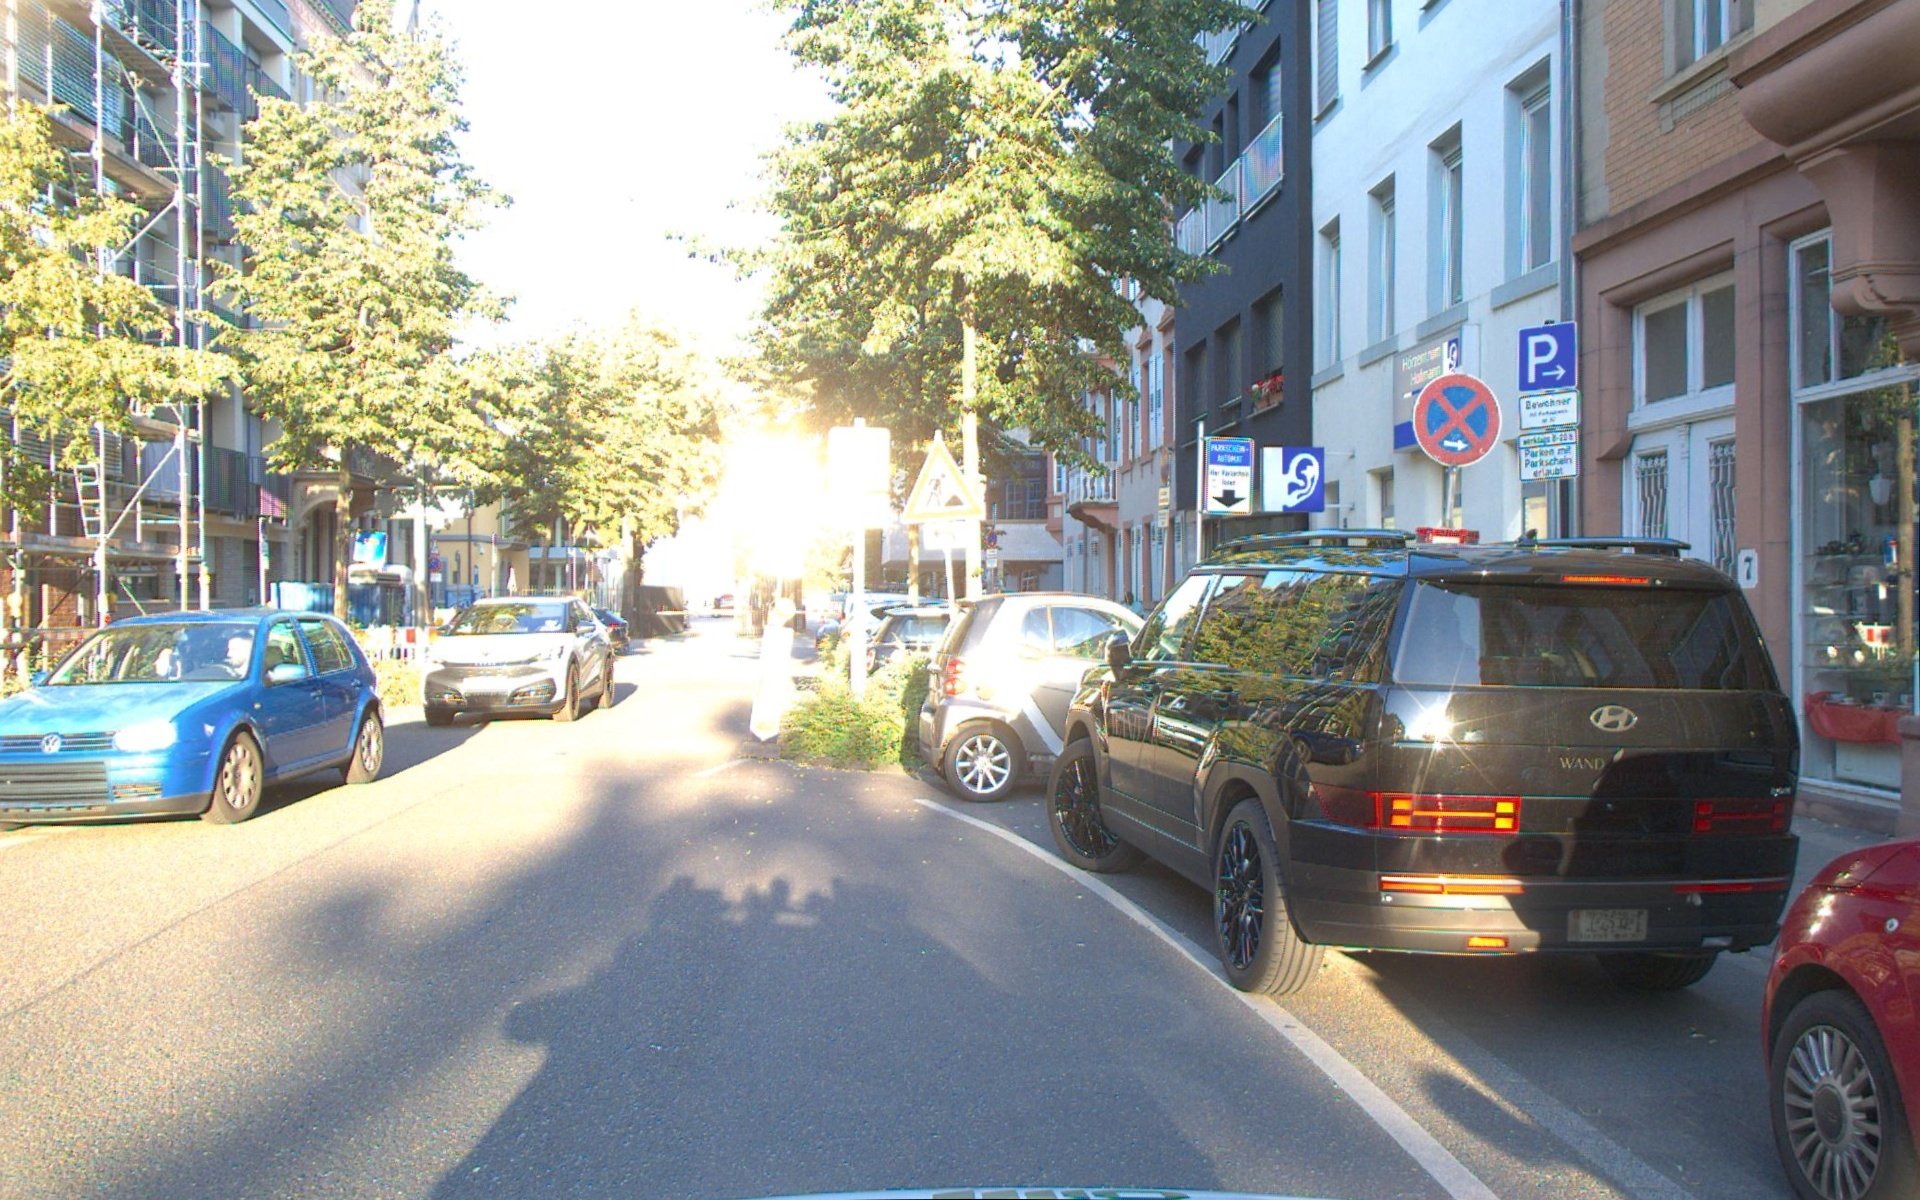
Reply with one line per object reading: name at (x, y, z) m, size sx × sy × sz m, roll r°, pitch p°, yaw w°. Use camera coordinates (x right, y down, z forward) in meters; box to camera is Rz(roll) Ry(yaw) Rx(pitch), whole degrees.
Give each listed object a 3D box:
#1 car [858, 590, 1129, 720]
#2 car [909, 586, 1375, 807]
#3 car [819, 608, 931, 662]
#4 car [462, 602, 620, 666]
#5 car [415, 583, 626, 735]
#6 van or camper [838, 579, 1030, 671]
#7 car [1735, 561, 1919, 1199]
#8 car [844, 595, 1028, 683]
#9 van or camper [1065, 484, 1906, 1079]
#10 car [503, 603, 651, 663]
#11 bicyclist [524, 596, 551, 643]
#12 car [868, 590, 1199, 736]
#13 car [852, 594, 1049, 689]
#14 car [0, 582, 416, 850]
car at (0.418, 0.750, 23.307) m, size 3.614 × 1.699 × 1.856 m, roll 1°, pitch 0°, yaw -6°
car at (1.397, 0.698, 13.185) m, size 3.409 × 1.603 × 1.503 m, roll 0°, pitch 0°, yaw -12°
car at (-2.617, 1.071, 51.876) m, size 1.817 × 1.595 × 3.690 m, roll 1°, pitch 0°, yaw 29°
car at (-11.520, 0.915, 45.671) m, size 3.906 × 1.713 × 1.890 m, roll 0°, pitch 0°, yaw -1°
car at (-5.688, 0.705, 21.938) m, size 1.836 × 1.727 × 4.318 m, roll -2°, pitch 0°, yaw -4°
van or camper at (-0.655, 0.588, 38.999) m, size 4.354 × 2.041 × 1.856 m, roll 1°, pitch 0°, yaw -6°
car at (2.954, 0.720, 2.893) m, size 1.495 × 1.597 × 3.420 m, roll 1°, pitch 0°, yaw -2°
car at (-0.535, 0.789, 33.921) m, size 3.614 × 1.699 × 1.856 m, roll 1°, pitch 0°, yaw -6°
van or camper at (1.855, 0.564, 7.473) m, size 1.854 × 1.839 × 4.451 m, roll 0°, pitch 0°, yaw -9°
car at (-11.160, 0.936, 48.377) m, size 3.906 × 1.713 × 1.890 m, roll 0°, pitch 0°, yaw -1°
bicyclist at (-14.799, 0.676, 57.927) m, size 0.757 × 1.634 × 0.492 m, roll 0°, pitch 0°, yaw -40°
car at (0.848, 0.764, 20.751) m, size 3.918 × 1.699 × 1.856 m, roll 1°, pitch 0°, yaw -6°
car at (-0.225, 0.779, 31.620) m, size 3.614 × 1.699 × 1.856 m, roll 1°, pitch 0°, yaw -6°
car at (-5.470, 0.709, 12.096) m, size 1.654 × 1.590 × 4.117 m, roll -2°, pitch 0°, yaw -1°
